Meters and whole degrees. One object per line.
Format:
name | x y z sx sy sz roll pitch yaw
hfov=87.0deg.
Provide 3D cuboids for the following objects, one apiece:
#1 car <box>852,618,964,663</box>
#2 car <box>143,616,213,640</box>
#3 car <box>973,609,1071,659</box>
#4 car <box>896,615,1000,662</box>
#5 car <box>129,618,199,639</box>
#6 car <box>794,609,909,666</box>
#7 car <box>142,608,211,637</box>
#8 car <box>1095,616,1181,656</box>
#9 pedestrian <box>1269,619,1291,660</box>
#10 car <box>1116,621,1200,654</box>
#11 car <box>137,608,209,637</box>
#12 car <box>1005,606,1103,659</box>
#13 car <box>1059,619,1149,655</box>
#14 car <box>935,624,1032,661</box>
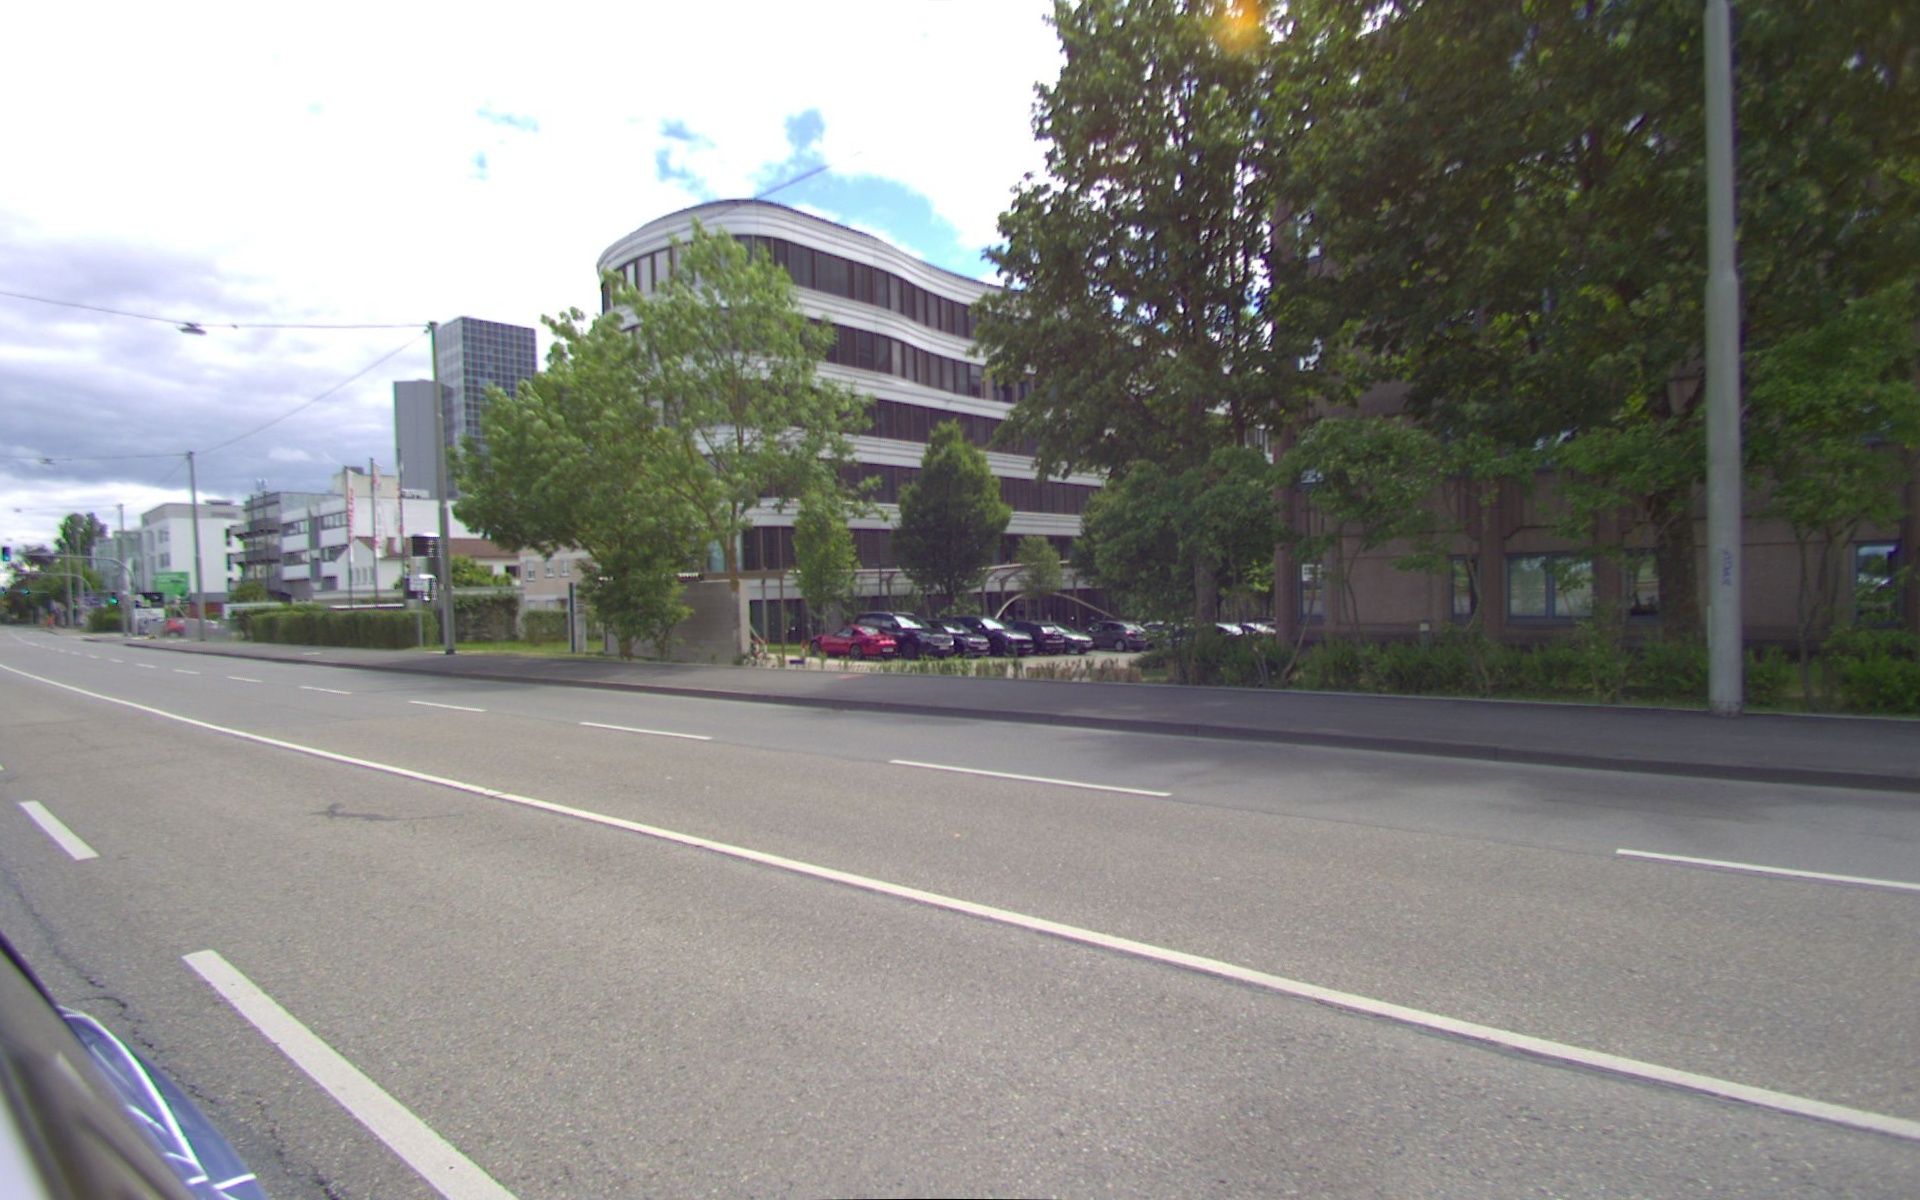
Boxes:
car | -2.015 1.509 38.461 3.998 1.630 1.973 -1 -2 41
car | -56.533 1.995 73.209 1.835 1.623 3.752 -2 0 42
car | 2.701 1.453 44.551 3.998 2.042 1.908 -1 1 41
car | -0.531 1.514 40.743 3.998 1.736 1.801 -1 1 41
car | -61.844 2.205 78.654 1.823 1.342 3.946 -2 2 42
car | -4.017 1.332 37.225 3.993 1.807 1.846 2 2 36
car | -59.937 1.705 77.443 1.904 2.029 3.944 -1 1 42
car | 9.033 1.782 51.544 3.998 1.785 1.823 1 2 41
pedestrian | 18.137 2.247 57.356 1.001 2.218 0.706 2 2 41
car | 10.428 1.944 53.544 3.998 1.497 1.836 2 2 41
car | -58.385 1.636 75.100 1.920 2.029 3.944 -1 1 42
car | 4.255 1.413 46.062 3.999 2.028 1.973 4 4 41
car | 7.060 1.787 49.800 4.038 1.629 1.822 -1 1 41
car | 0.947 1.719 42.165 3.998 1.386 1.506 -1 1 41
